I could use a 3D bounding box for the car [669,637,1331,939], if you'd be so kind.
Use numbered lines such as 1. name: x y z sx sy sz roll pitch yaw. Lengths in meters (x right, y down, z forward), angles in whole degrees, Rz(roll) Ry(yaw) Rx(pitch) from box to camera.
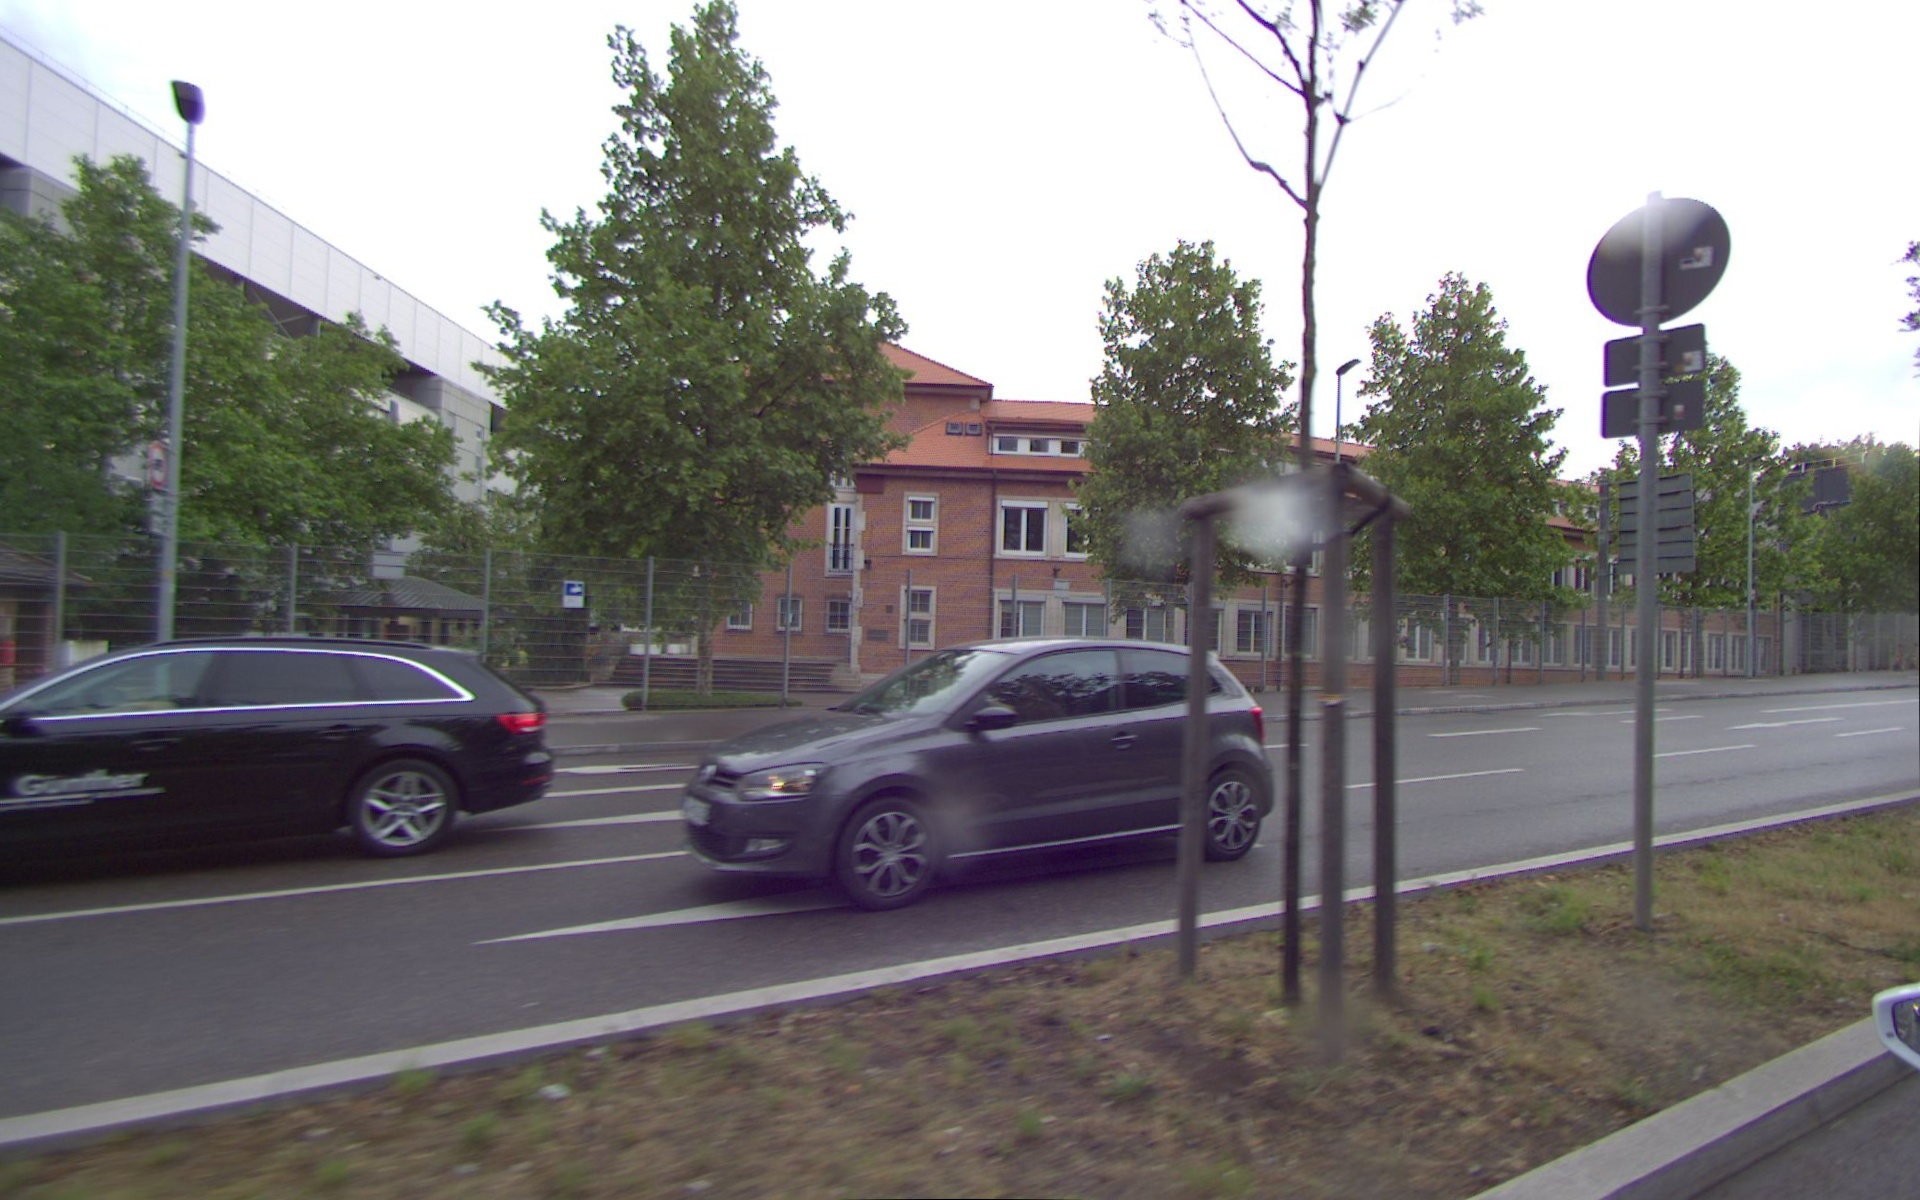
1. car: 0.373 0.969 6.461 4.063 1.422 1.570 2 -3 -30

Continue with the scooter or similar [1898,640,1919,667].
1. scooter or similar: 44.496 2.500 46.972 1.287 1.234 0.311 0 -2 -19

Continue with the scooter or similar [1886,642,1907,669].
1. scooter or similar: 42.751 2.531 45.839 1.292 1.234 0.310 1 -2 -31

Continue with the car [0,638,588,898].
1. car: -5.026 0.974 6.686 4.560 1.422 1.765 2 -3 -30
